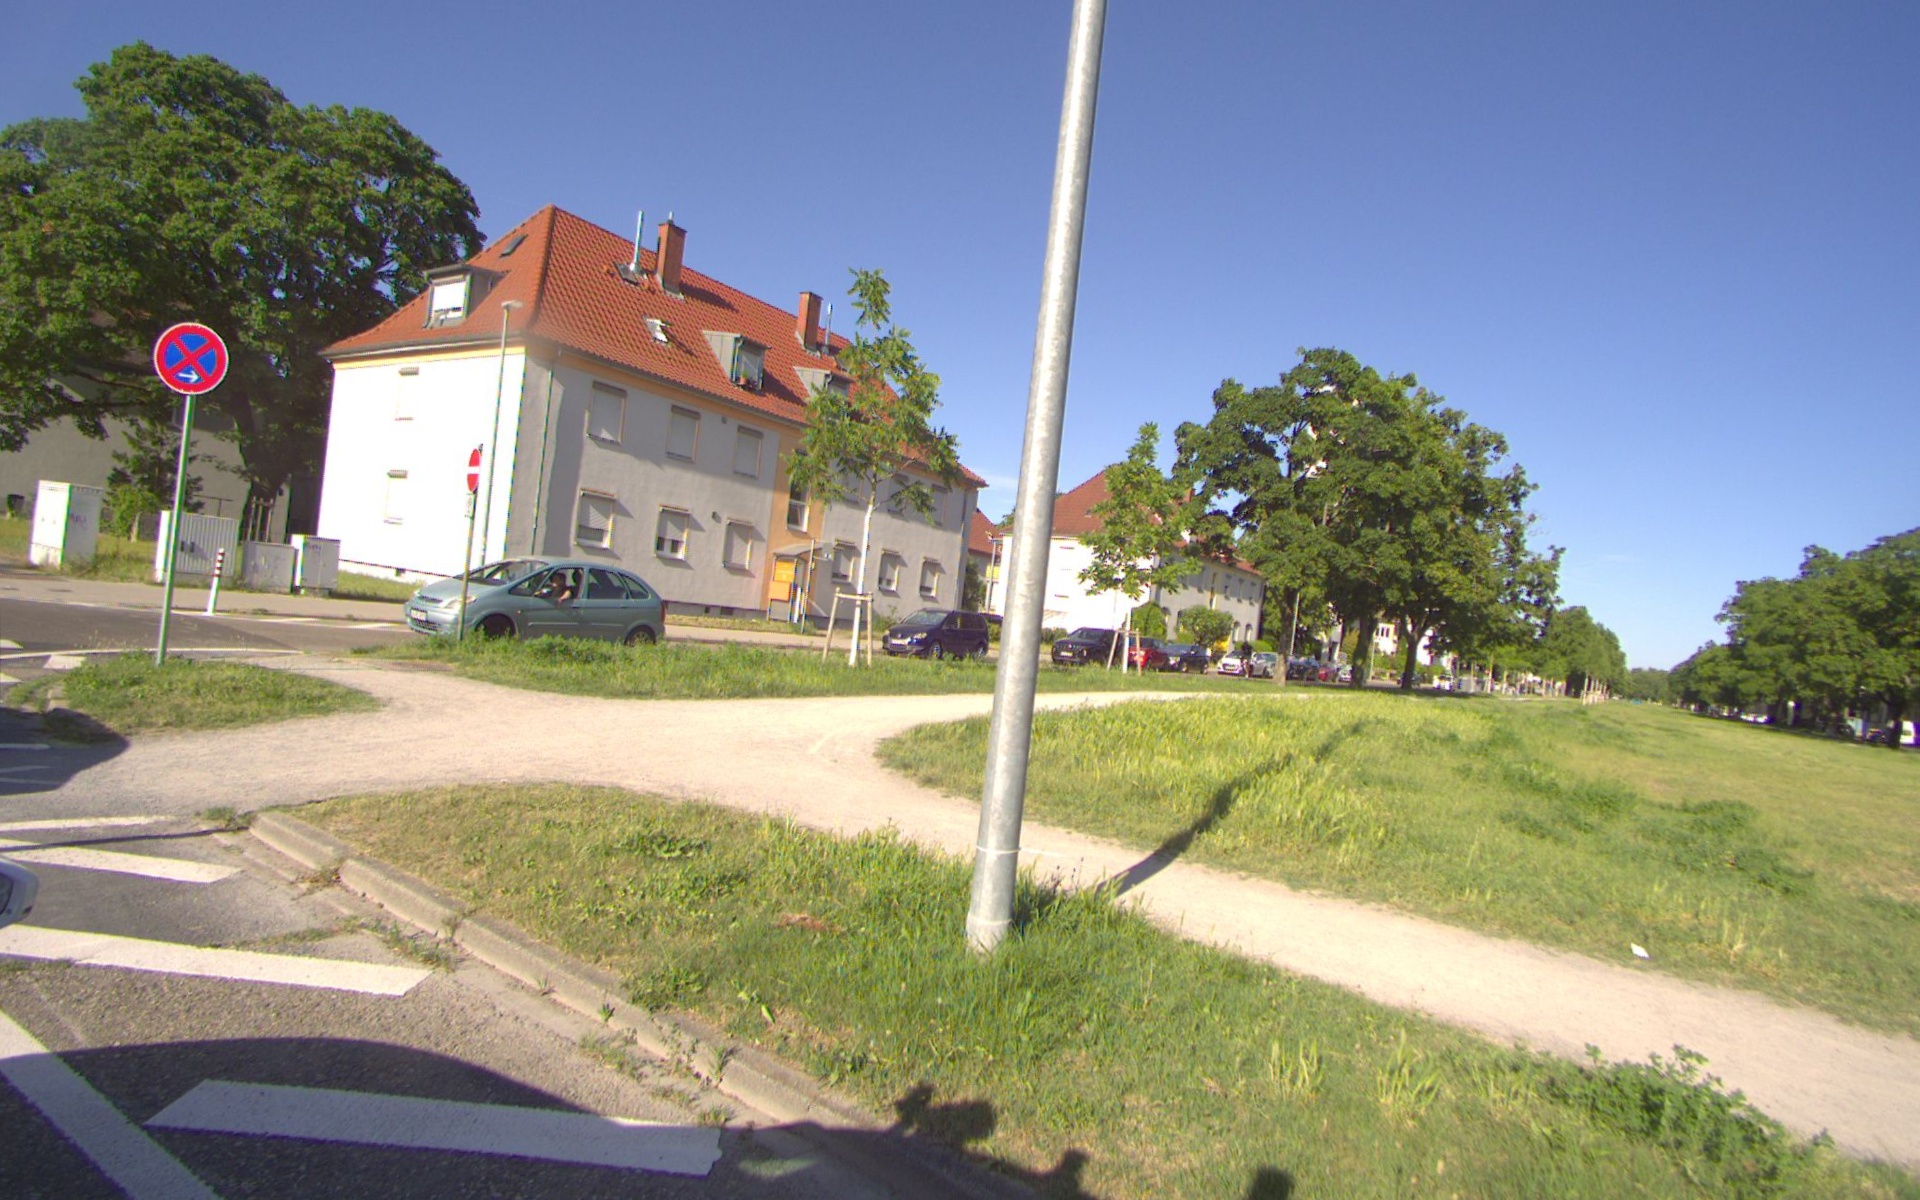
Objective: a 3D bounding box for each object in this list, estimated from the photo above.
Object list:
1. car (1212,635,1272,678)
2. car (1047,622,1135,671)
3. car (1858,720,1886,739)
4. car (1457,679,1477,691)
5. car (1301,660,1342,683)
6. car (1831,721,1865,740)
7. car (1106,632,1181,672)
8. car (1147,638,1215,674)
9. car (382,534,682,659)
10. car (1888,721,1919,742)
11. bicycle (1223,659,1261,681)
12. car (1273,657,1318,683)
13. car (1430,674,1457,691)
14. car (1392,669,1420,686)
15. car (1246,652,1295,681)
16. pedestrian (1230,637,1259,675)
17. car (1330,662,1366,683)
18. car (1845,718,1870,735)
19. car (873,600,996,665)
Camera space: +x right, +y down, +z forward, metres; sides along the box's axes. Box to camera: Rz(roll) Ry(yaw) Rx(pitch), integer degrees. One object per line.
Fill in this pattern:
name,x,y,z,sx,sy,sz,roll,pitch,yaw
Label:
car,16.067,3.239,57.198,1.842,2.038,4.244,7,0,35
car,5.360,1.914,40.878,1.694,1.602,4.129,7,0,35
car,110.307,15.616,121.744,1.837,1.868,3.982,7,0,36
car,65.805,11.019,130.651,1.694,1.358,3.798,7,0,35
car,25.585,5.087,71.219,1.694,1.358,3.798,7,0,35
car,93.293,13.705,105.718,2.049,1.484,4.713,7,0,36
car,8.387,2.371,45.700,1.694,1.459,4.129,7,0,35
car,10.898,2.776,49.494,1.694,1.459,4.129,7,0,35
car,-7.077,0.015,17.065,1.859,1.628,4.235,7,0,35
car,103.664,14.395,110.504,1.837,1.868,3.982,7,0,36
bicycle,13.718,3.413,48.901,1.036,0.949,2.759,7,0,30
car,22.045,4.596,65.986,1.694,1.358,3.798,7,0,35
car,47.026,8.044,97.879,1.694,1.358,3.798,7,0,35
car,43.893,7.625,98.918,1.694,1.358,3.798,7,0,35
car,19.068,4.087,61.682,1.694,1.517,3.798,7,0,35
pedestrian,13.823,2.713,48.930,1.036,1.730,0.692,7,1,30
car,31.017,5.808,80.328,1.694,1.358,3.798,7,0,35
car,119.232,16.797,133.724,1.837,1.868,3.982,7,0,36
car,-0.738,1.064,31.989,1.694,1.684,4.053,7,0,35
